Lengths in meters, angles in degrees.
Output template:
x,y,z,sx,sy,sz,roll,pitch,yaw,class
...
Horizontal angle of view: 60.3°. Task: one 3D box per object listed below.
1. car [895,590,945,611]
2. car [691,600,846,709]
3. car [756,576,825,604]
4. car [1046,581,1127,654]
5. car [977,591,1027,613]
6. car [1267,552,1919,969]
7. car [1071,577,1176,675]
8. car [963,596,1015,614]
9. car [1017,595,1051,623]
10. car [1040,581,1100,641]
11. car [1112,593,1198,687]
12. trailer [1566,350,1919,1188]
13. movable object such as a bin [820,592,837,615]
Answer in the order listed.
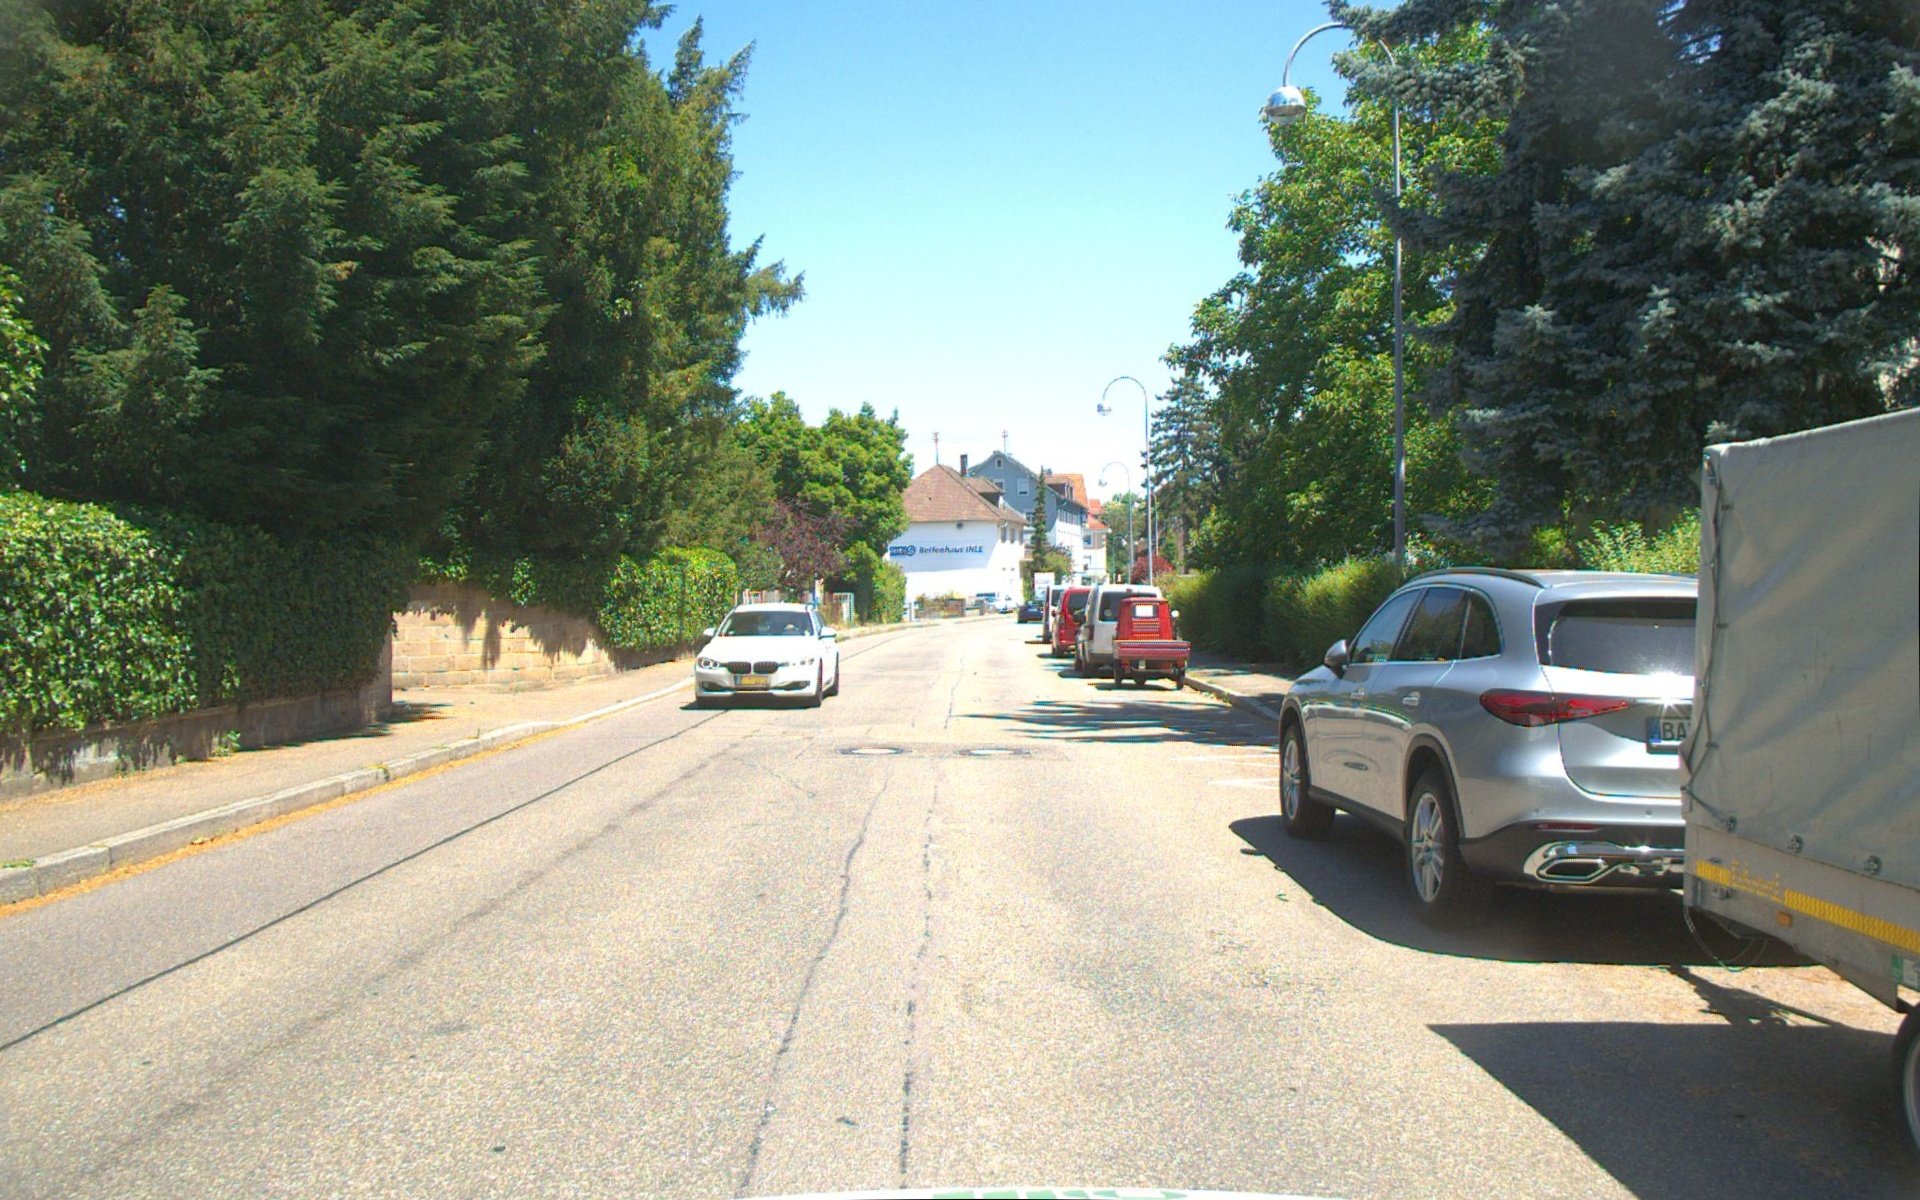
x,y,z,sx,sy,sz,roll,pitch,yaw,class
-3.123,0.040,129.264,1.786,1.536,3.936,-1,1,-44,car
-2.764,0.747,24.852,1.826,1.407,4.604,-1,0,-1,car
-9.898,-0.594,96.849,3.906,1.537,1.799,1,0,-2,car
3.268,0.445,43.462,1.863,1.758,4.392,2,0,2,car
3.581,0.130,139.571,4.041,1.805,1.830,0,0,6,car
3.038,0.636,9.031,1.736,1.660,4.603,1,0,-1,car
3.244,0.485,33.568,1.710,1.813,4.543,1,0,1,car
2.350,0.410,134.092,4.072,1.367,1.898,0,1,44,car
4.321,0.523,96.322,1.756,1.537,4.003,2,0,6,car
3.747,0.354,56.956,1.863,1.958,4.720,0,0,2,car
3.350,0.653,28.701,1.234,1.521,2.710,1,0,2,car
3.233,0.434,4.564,1.646,2.104,3.707,1,0,-1,trailer
-5.609,0.147,70.515,0.693,1.014,0.474,0,0,1,movable object such as a bin
